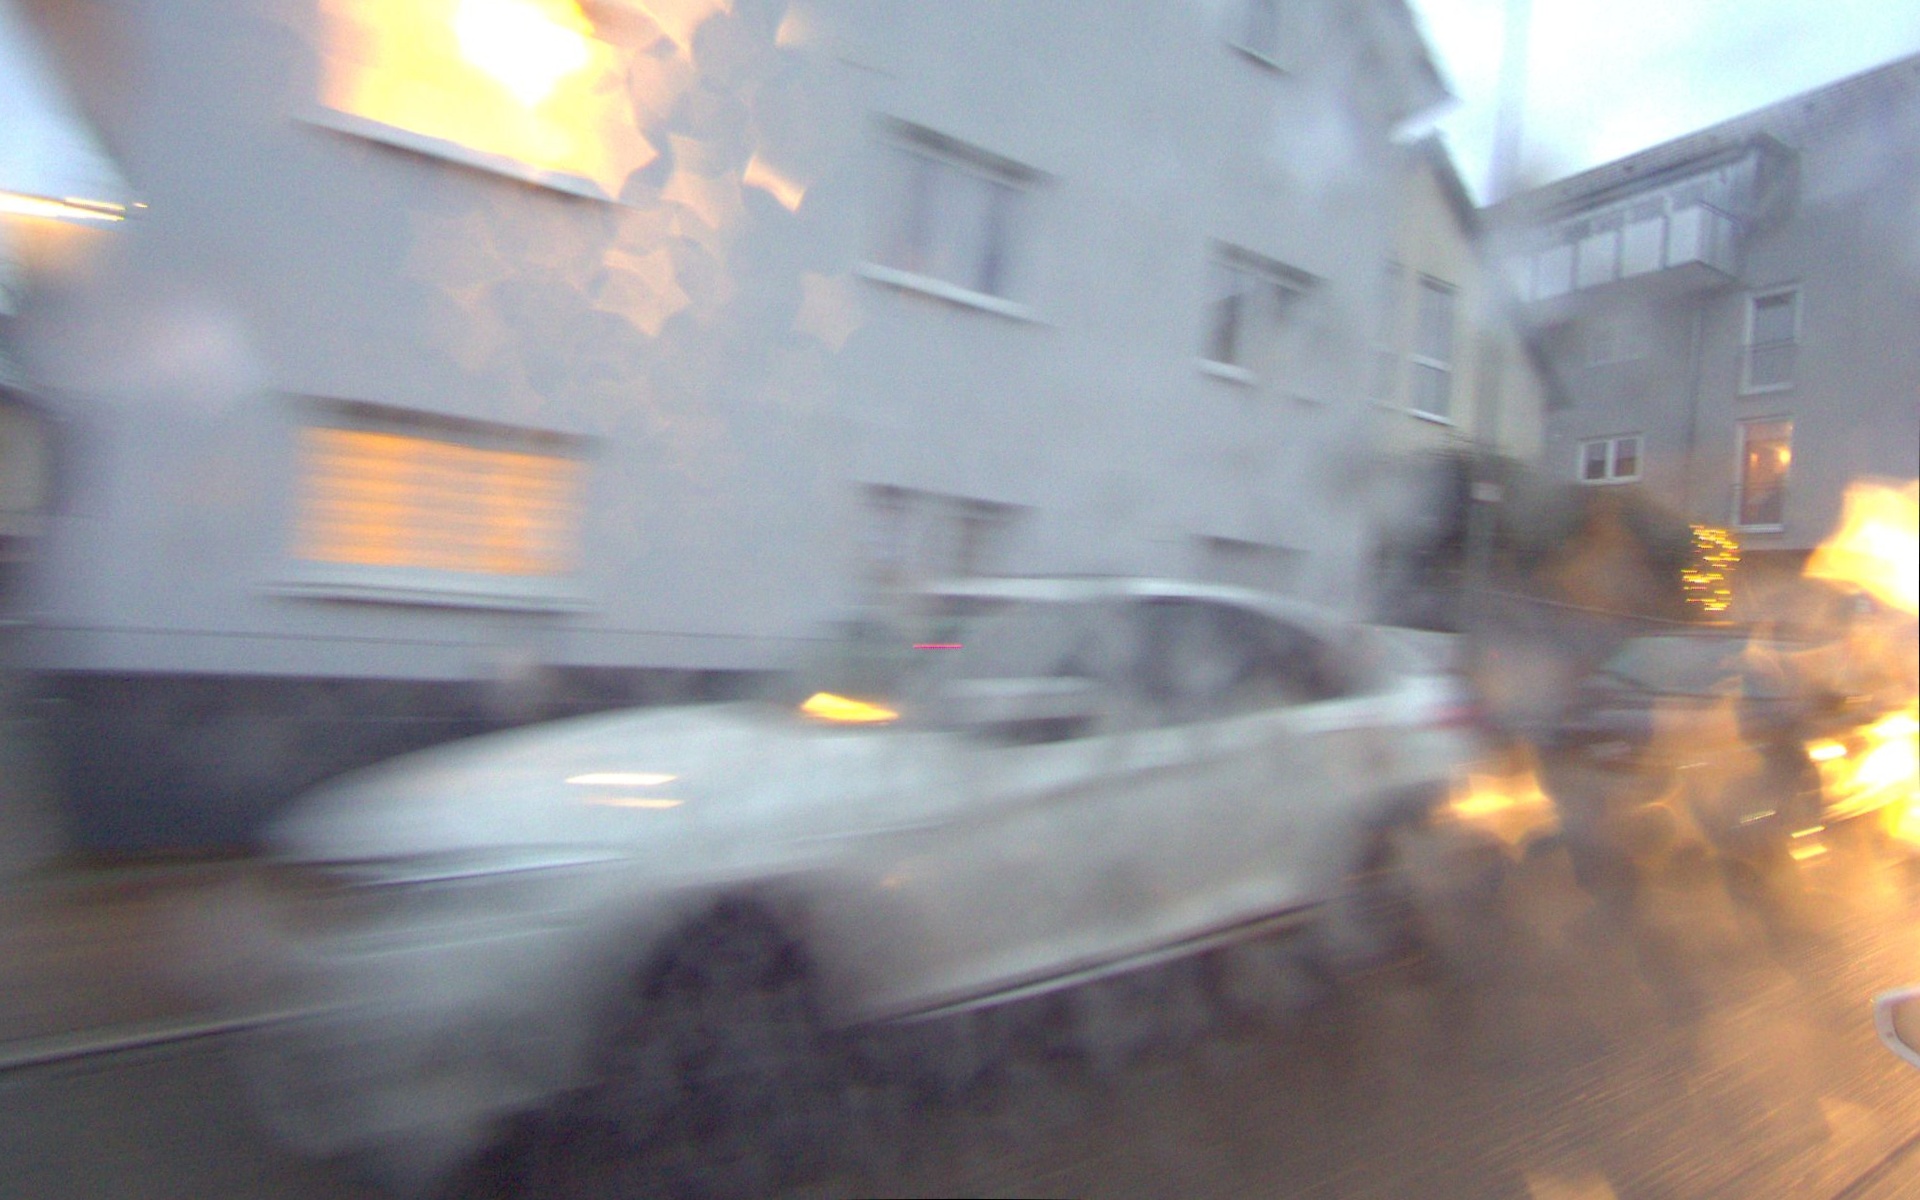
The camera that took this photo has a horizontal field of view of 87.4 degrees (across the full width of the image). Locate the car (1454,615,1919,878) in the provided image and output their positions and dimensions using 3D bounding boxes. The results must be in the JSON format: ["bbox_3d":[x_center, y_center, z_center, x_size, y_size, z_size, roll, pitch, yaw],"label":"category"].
[{"bbox_3d":[5.618,0.879,7.448,3.991,1.455,1.724,2,-1,-33],"label":"car"}]

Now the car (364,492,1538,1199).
[{"bbox_3d":[0.200,0.663,4.026,4.375,1.646,1.907,2,-1,-33],"label":"car"}]

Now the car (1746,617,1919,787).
[{"bbox_3d":[10.040,0.966,10.428,4.394,1.463,1.723,2,0,-35],"label":"car"}]
